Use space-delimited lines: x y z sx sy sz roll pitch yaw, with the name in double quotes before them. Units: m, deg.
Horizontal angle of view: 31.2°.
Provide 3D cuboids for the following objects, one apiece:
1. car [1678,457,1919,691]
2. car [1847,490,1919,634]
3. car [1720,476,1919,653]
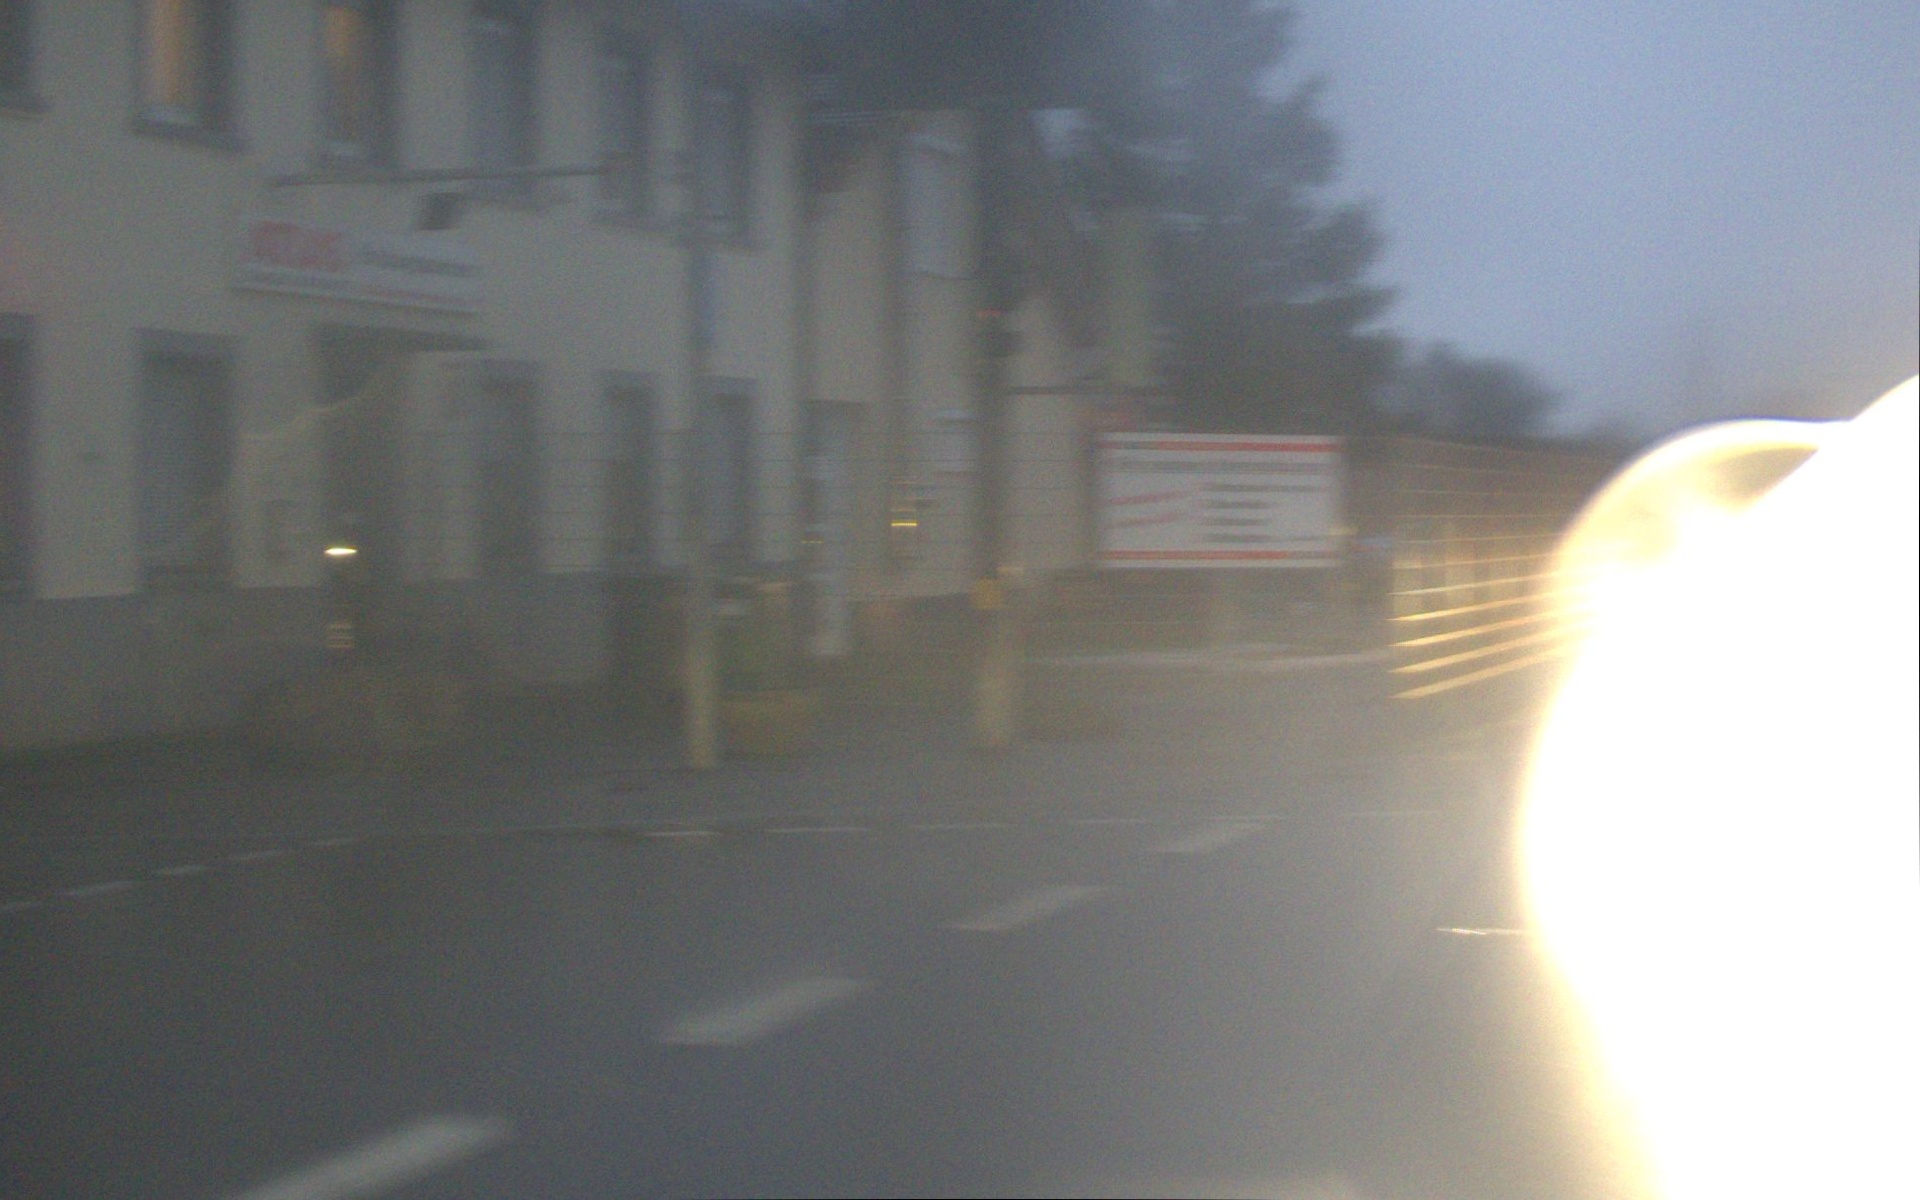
"car" 7.118 -0.243 27.709 1.995 1.740 3.996 -1 1 21
"car" 12.098 -0.478 42.690 1.723 1.717 3.924 0 1 20
"car" 9.198 -0.423 36.304 1.829 1.763 3.749 0 2 20
